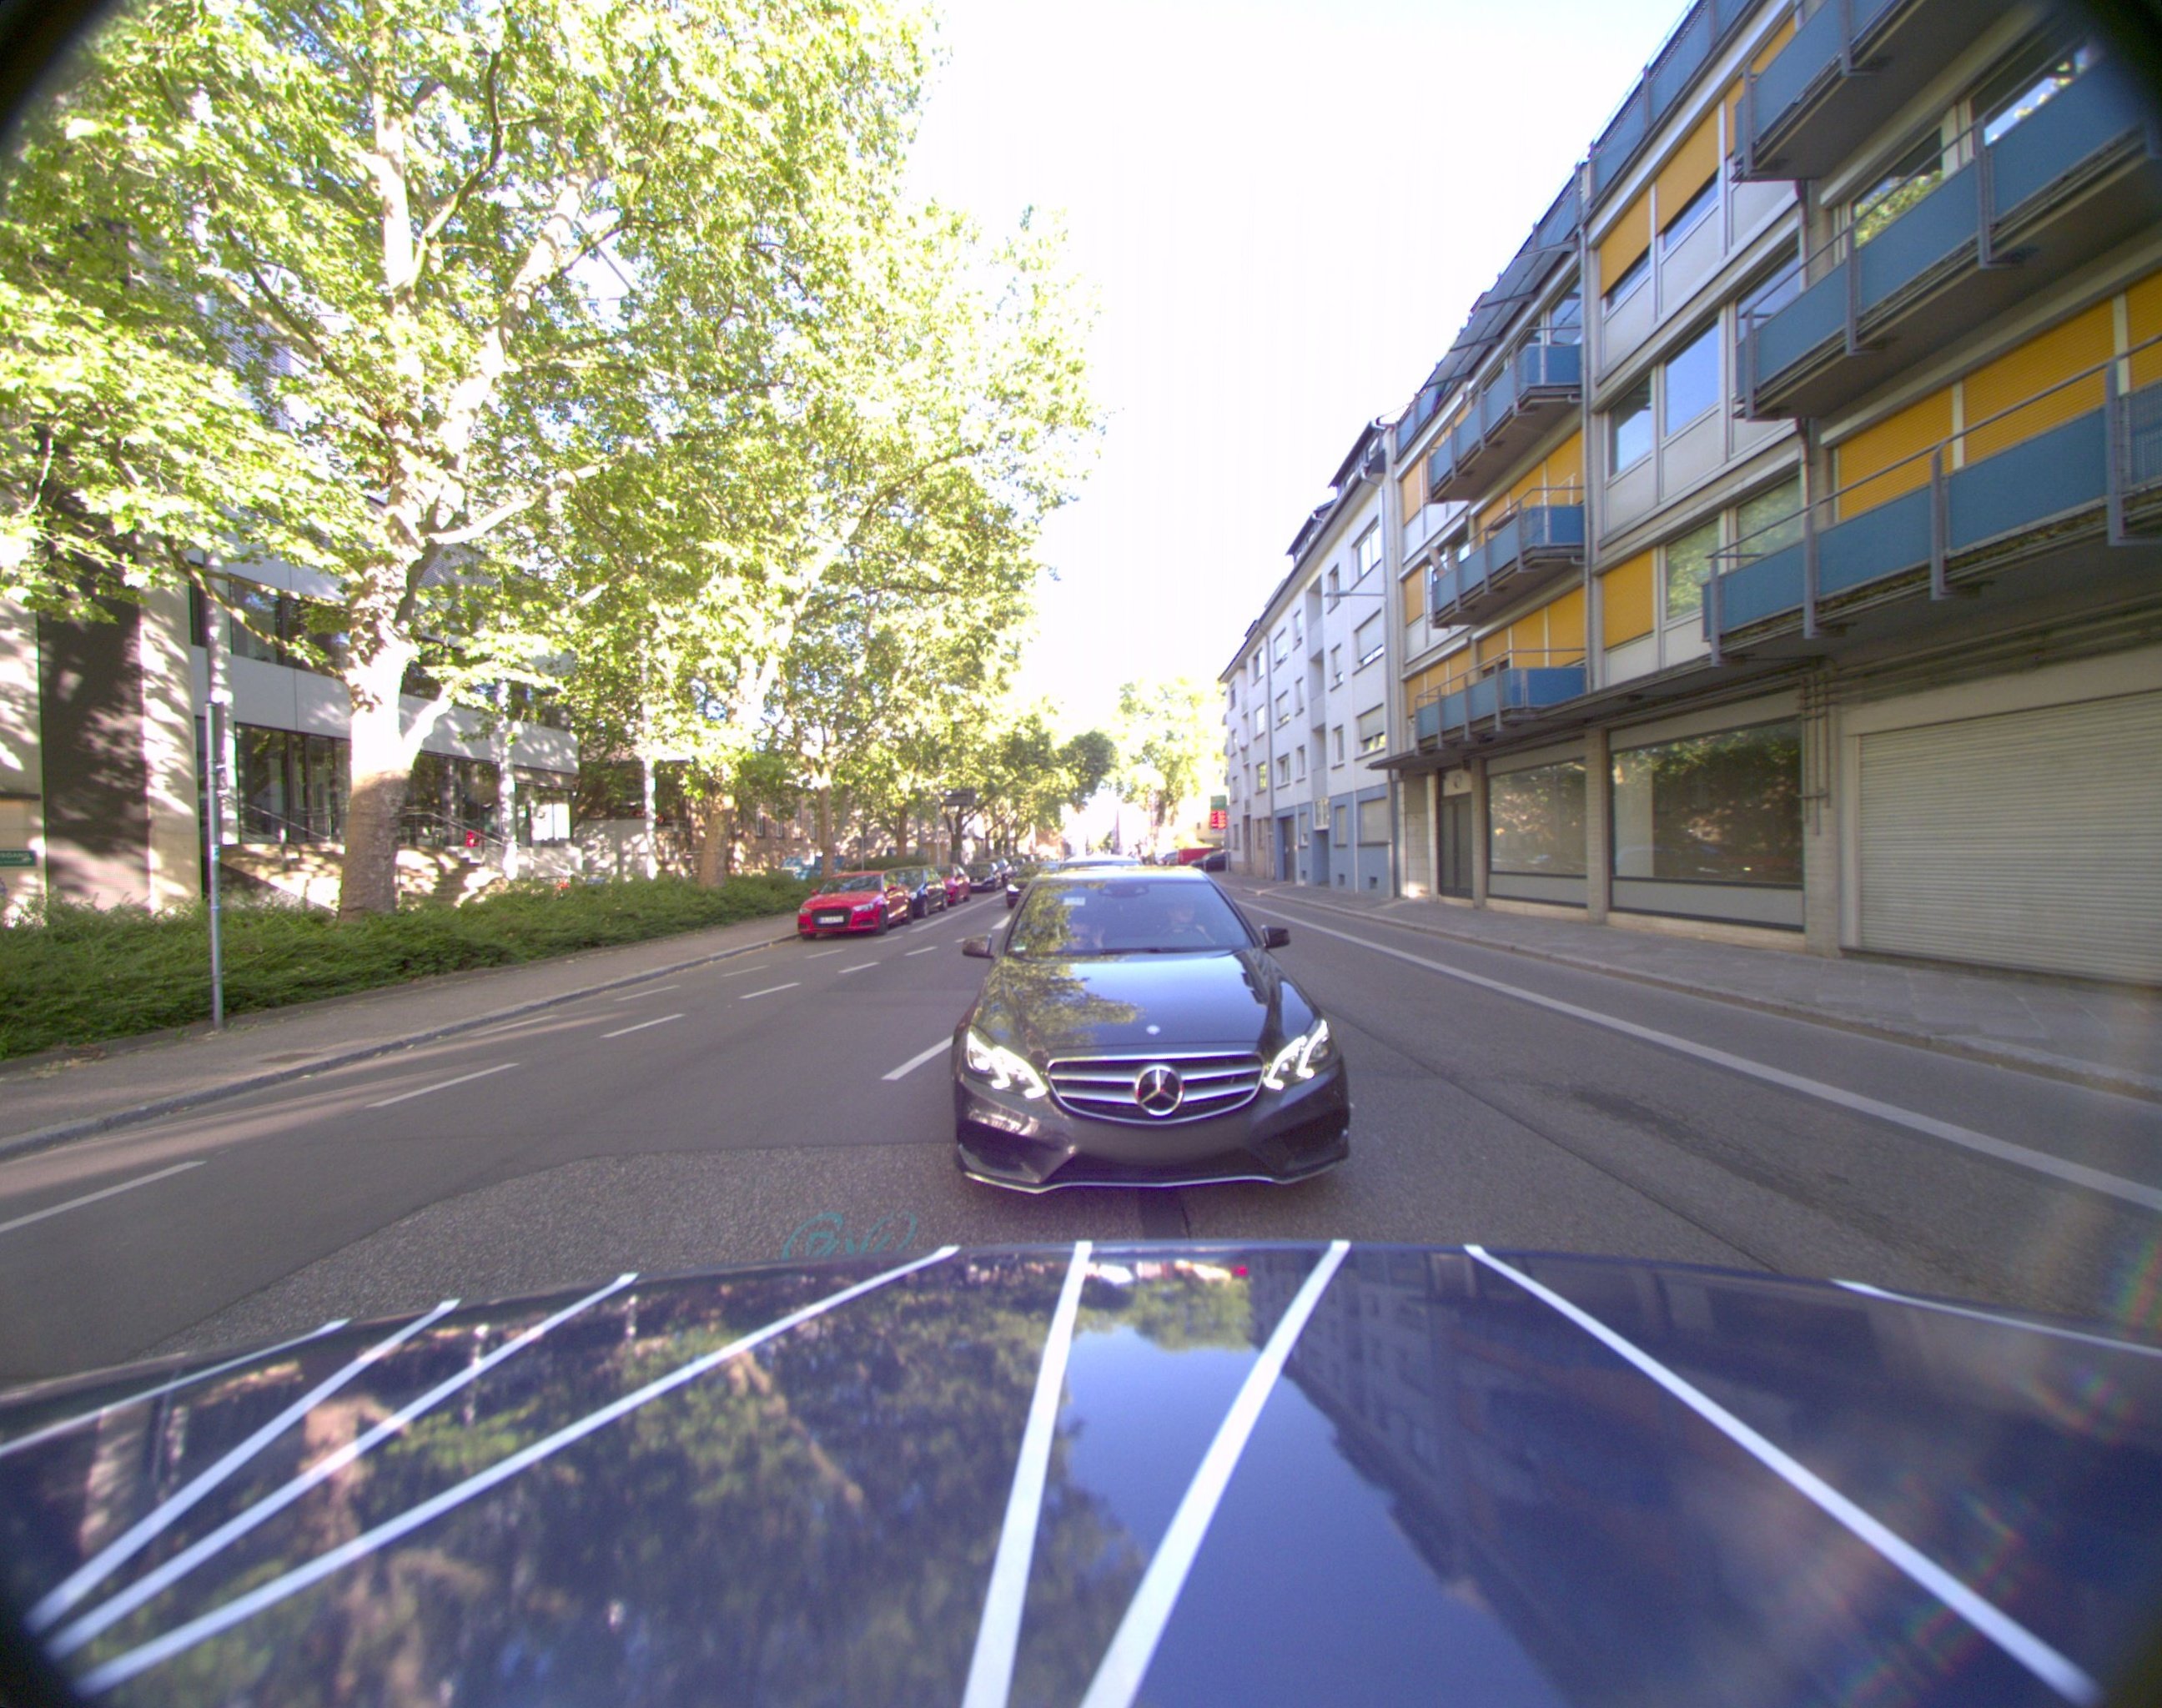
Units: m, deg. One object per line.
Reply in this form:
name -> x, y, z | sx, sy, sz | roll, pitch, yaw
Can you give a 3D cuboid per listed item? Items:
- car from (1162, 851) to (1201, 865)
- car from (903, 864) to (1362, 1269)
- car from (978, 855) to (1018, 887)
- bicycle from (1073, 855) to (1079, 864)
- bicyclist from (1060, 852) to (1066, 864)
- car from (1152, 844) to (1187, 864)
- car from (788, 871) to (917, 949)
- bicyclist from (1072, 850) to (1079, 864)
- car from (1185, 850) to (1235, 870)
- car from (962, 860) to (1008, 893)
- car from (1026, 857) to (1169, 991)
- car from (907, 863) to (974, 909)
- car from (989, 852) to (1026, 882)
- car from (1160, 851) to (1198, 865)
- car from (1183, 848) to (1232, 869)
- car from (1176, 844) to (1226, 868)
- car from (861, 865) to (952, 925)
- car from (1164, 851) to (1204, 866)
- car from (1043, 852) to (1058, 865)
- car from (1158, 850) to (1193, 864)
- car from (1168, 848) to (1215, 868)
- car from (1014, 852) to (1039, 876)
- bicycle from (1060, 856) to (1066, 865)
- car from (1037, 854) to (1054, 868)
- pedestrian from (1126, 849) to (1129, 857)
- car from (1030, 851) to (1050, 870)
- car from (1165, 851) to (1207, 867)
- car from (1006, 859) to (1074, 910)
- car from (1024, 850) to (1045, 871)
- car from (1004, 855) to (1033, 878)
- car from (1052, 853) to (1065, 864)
car -> 10.516, 0.439, 79.719 | 3.905, 1.325, 1.525 | -2, 1, 2
car -> 0.208, 0.900, 5.260 | 1.828, 1.495, 4.293 | -2, 1, 0
car -> -4.542, 0.915, 42.040 | 1.686, 1.610, 3.836 | -2, 0, 0
bicycle -> -0.638, 0.720, 99.033 | 0.667, 1.093, 1.814 | -2, 1, 0
bicyclist -> -2.307, 0.493, 96.747 | 0.756, 1.512, 0.768 | -2, 1, -1
car -> 10.397, 0.037, 89.286 | 3.905, 2.164, 1.725 | -2, 1, 2
car -> -5.136, 1.194, 17.637 | 1.724, 1.412, 4.030 | -4, 0, -1
bicyclist -> -0.697, 0.380, 98.985 | 0.756, 1.714, 0.768 | -2, 1, -1
car -> 9.955, 0.467, 58.707 | 3.598, 1.401, 1.534 | -2, 0, 2
car -> -4.670, 1.054, 37.381 | 1.686, 1.443, 4.000 | -2, 0, 0
car -> 0.200, 0.886, 11.636 | 1.732, 1.538, 4.293 | -2, 1, 0
car -> -5.014, 1.100, 27.581 | 1.666, 1.426, 3.781 | -2, 0, 0
car -> -4.599, 0.780, 48.166 | 1.819, 1.758, 4.431 | -2, 0, 0
car -> 10.525, 0.413, 82.108 | 3.905, 1.325, 1.525 | -2, 1, 2
car -> 10.124, 0.367, 61.112 | 3.668, 1.501, 1.602 | -2, 1, 2
car -> 10.070, 0.176, 63.957 | 3.905, 1.895, 1.749 | -2, 1, 2
car -> -5.017, 1.134, 22.396 | 1.686, 1.458, 4.000 | -3, 0, 0
car -> 10.400, 0.440, 76.965 | 3.905, 1.366, 1.594 | -2, 1, 2
car -> -3.794, 0.609, 95.663 | 1.686, 1.546, 3.836 | -2, 0, 0
car -> 10.537, 0.345, 84.793 | 3.782, 1.432, 1.539 | -2, 1, 2
car -> 9.711, 0.341, 66.752 | 3.905, 1.577, 1.603 | -2, 1, 2
car -> -4.221, 0.762, 59.346 | 1.663, 1.704, 3.836 | -2, 0, 0
bicycle -> -2.261, 0.834, 96.667 | 0.667, 1.093, 1.814 | -2, 1, 0
car -> -4.056, 0.756, 87.040 | 1.639, 1.493, 3.752 | -2, 0, 0
pedestrian -> 12.625, -0.390, 205.655 | 0.884, 2.108, 0.821 | -2, 1, 4
car -> -4.102, 0.646, 75.995 | 1.686, 1.749, 3.836 | -2, 0, 0
car -> 10.369, 0.463, 74.943 | 3.905, 1.366, 1.594 | -2, 1, 2
car -> -1.256, 0.931, 24.862 | 1.693, 1.432, 3.903 | -3, 0, 4
car -> -4.256, 0.599, 70.204 | 1.646, 1.839, 3.836 | -2, 0, 0
car -> -4.430, 0.884, 54.490 | 1.686, 1.552, 3.868 | -2, 0, 0
car -> -3.132, 0.663, 106.805 | 1.686, 1.475, 3.836 | -2, 0, 0
